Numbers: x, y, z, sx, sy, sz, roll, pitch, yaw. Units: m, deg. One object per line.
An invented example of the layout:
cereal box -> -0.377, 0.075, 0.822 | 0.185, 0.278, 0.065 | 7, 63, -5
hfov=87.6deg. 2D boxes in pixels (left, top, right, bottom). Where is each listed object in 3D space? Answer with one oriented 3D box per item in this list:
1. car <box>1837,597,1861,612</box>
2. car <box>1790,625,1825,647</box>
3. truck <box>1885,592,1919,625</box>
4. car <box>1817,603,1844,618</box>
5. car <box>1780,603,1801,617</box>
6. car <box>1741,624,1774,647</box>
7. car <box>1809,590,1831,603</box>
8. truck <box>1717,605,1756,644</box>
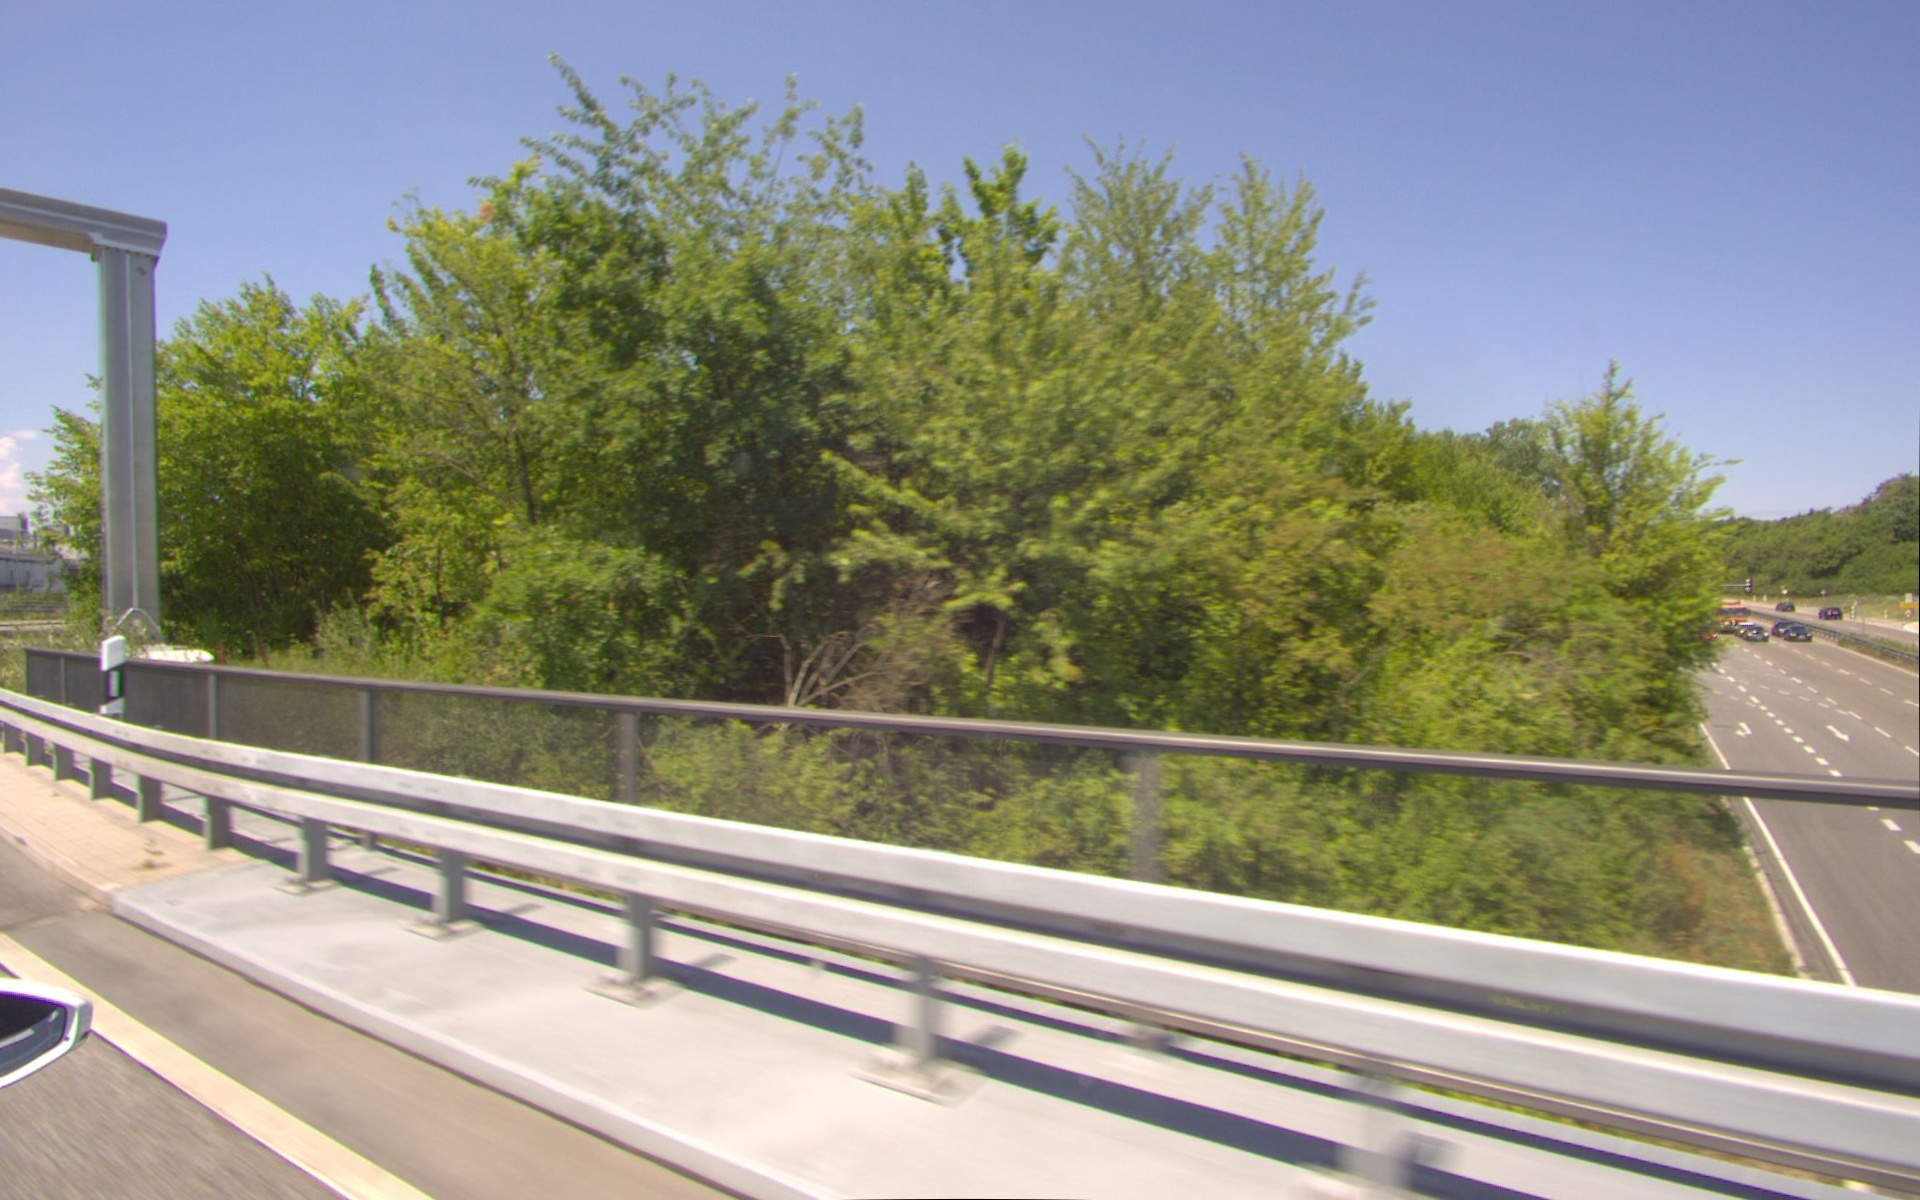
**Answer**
car -> 128.134, 0.642, 144.353 | 1.971, 2.040, 3.979 | -1, 0, 32
car -> 81.040, 3.424, 95.786 | 1.971, 2.040, 3.979 | -1, 0, 31
truck -> 117.450, 1.027, 124.413 | 1.971, 4.003, 9.036 | 0, 0, 31
car -> 111.828, 1.398, 128.681 | 1.971, 1.882, 3.979 | -1, 0, 32
car -> 126.039, 1.481, 151.969 | 1.971, 2.040, 3.979 | -1, 0, 32
car -> 77.330, 3.404, 97.128 | 1.971, 2.040, 3.979 | -1, 0, 31
car -> 135.170, -0.529, 157.357 | 1.971, 2.040, 3.979 | -1, 0, 32
truck -> 84.932, 2.605, 109.637 | 2.675, 4.063, 8.832 | 0, 0, 33
